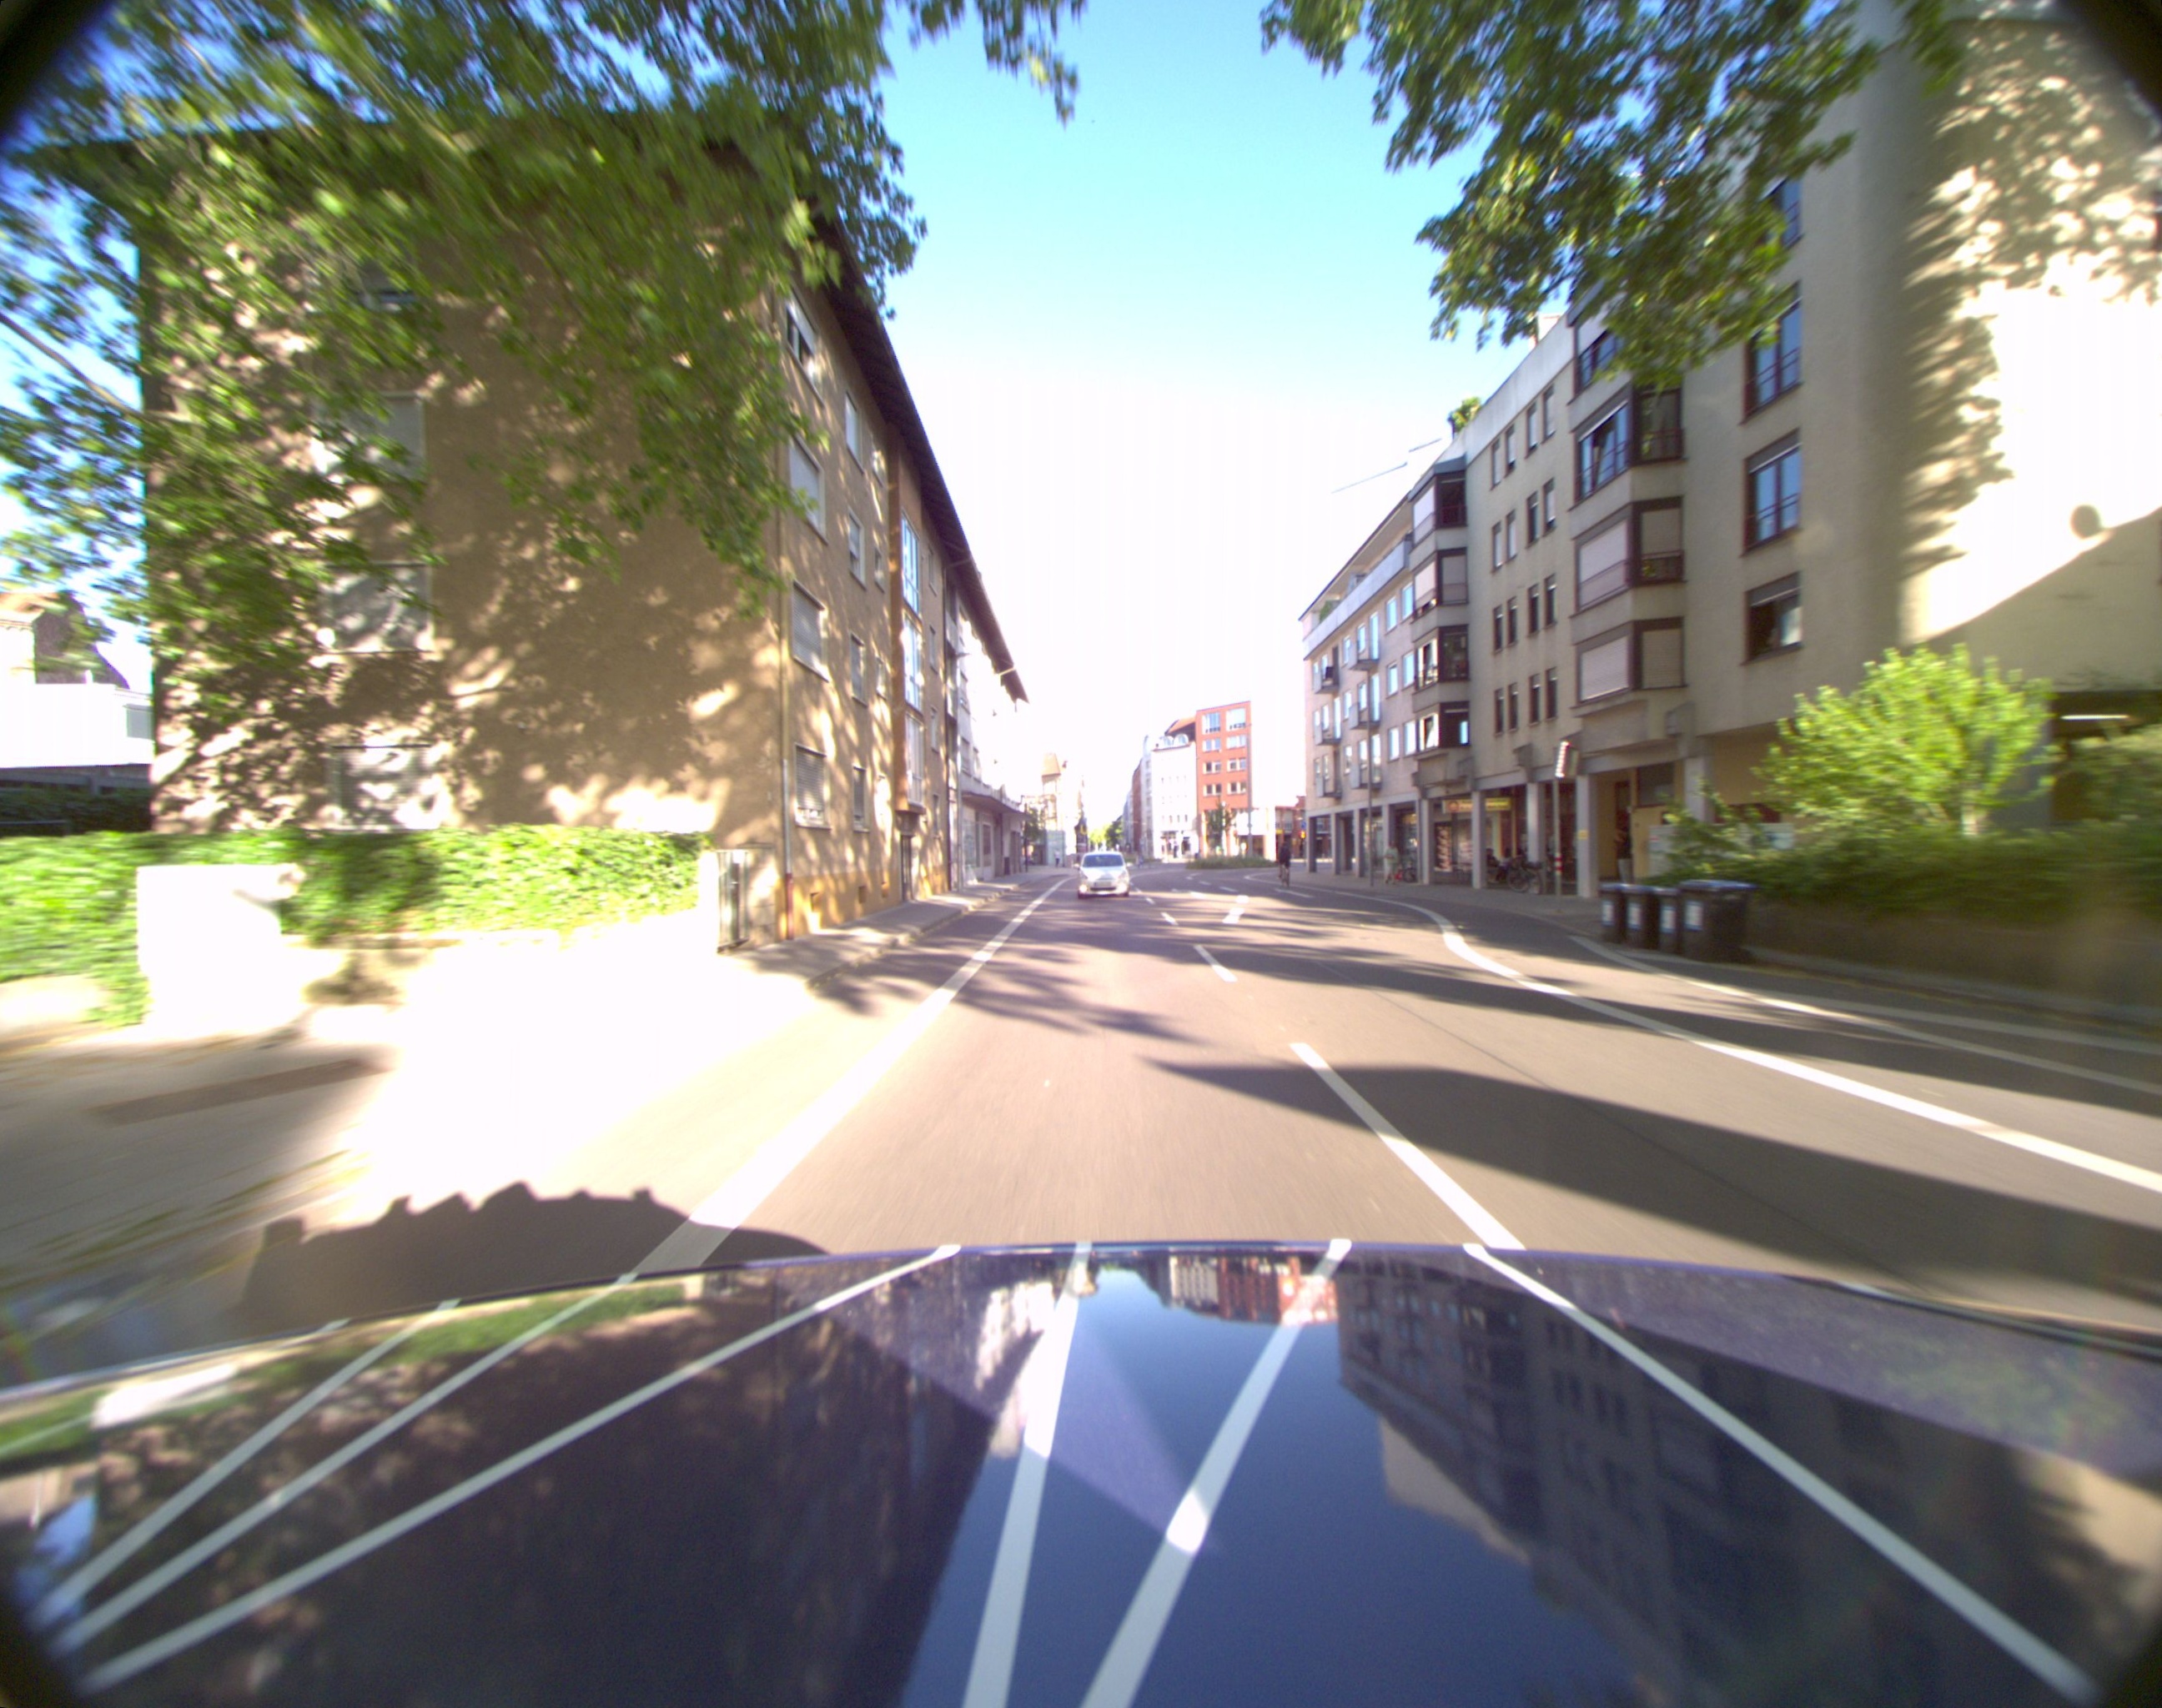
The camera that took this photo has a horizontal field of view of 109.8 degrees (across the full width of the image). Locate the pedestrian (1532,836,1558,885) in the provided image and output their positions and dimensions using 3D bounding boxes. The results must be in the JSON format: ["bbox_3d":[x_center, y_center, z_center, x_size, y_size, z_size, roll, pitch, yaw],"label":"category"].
[{"bbox_3d":[16.183,0.233,26.480,0.613,1.656,0.712,-1,2,43],"label":"pedestrian"}]

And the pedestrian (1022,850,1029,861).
[{"bbox_3d":[-6.344,0.127,86.731,0.707,1.235,0.765,2,2,-8],"label":"pedestrian"}]

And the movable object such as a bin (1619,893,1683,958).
[{"bbox_3d":[8.474,1.054,11.307,0.542,0.896,0.559,-1,1,1],"label":"movable object such as a bin"}]

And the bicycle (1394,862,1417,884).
[{"bbox_3d":[13.472,0.779,31.535,0.359,0.819,1.523,-2,0,3],"label":"bicycle"}]

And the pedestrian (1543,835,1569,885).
[{"bbox_3d":[16.819,0.194,26.905,0.613,1.732,0.712,-1,2,43],"label":"pedestrian"}]

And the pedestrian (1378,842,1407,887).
[{"bbox_3d":[12.242,0.390,29.891,0.834,1.730,0.723,-2,2,2],"label":"pedestrian"}]

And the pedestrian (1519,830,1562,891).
[{"bbox_3d":[14.398,0.193,23.825,0.825,1.859,0.806,-3,2,0],"label":"pedestrian"}]

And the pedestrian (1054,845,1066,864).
[{"bbox_3d":[-1.988,0.043,71.783,0.709,1.809,0.705,0,2,-42],"label":"pedestrian"}]

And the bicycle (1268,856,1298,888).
[{"bbox_3d":[8.119,0.711,30.668,0.730,1.193,2.179,0,1,3],"label":"bicycle"}]

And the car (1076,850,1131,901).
[{"bbox_3d":[0.773,0.653,25.292,1.683,1.490,3.685,-1,1,2],"label":"car"}]

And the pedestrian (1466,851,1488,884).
[{"bbox_3d":[15.601,0.522,29.924,0.568,1.260,0.689,-2,2,12],"label":"pedestrian"}]

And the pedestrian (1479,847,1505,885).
[{"bbox_3d":[15.246,0.439,28.213,0.614,1.360,0.711,-2,2,7],"label":"pedestrian"}]

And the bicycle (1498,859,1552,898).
[{"bbox_3d":[13.074,0.705,22.448,0.449,1.039,2.011,-1,1,1],"label":"bicycle"}]

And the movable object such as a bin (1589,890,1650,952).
[{"bbox_3d":[8.423,1.036,11.901,0.542,0.896,0.604,-1,1,1],"label":"movable object such as a bin"}]

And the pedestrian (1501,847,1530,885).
[{"bbox_3d":[15.789,0.423,27.594,0.710,1.345,0.615,-2,2,7],"label":"pedestrian"}]

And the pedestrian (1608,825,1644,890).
[{"bbox_3d":[15.855,0.091,22.128,0.613,1.859,0.797,-2,2,18],"label":"pedestrian"}]

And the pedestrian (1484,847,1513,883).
[{"bbox_3d":[15.817,0.400,28.823,0.710,1.329,0.740,-2,2,6],"label":"pedestrian"}]

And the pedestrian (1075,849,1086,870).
[{"bbox_3d":[-0.005,0.453,64.864,0.706,1.809,0.708,2,2,18],"label":"pedestrian"}]

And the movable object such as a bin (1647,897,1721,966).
[{"bbox_3d":[8.465,1.079,10.691,0.542,0.896,0.644,-1,1,1],"label":"movable object such as a bin"}]

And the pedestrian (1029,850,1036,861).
[{"bbox_3d":[-5.570,0.142,86.839,0.707,1.225,0.770,2,2,-8],"label":"pedestrian"}]

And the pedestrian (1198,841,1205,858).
[{"bbox_3d":[12.242,-0.431,77.316,0.593,1.737,0.502,-2,2,10],"label":"pedestrian"}]

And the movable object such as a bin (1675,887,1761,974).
[{"bbox_3d":[8.314,0.985,9.941,0.595,1.065,0.644,-1,1,1],"label":"movable object such as a bin"}]

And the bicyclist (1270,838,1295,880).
[{"bbox_3d":[8.109,0.184,30.587,0.730,1.632,1.167,-1,1,3],"label":"bicyclist"}]

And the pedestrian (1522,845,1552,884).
[{"bbox_3d":[16.495,0.364,27.484,0.710,1.370,0.615,-2,2,7],"label":"pedestrian"}]
